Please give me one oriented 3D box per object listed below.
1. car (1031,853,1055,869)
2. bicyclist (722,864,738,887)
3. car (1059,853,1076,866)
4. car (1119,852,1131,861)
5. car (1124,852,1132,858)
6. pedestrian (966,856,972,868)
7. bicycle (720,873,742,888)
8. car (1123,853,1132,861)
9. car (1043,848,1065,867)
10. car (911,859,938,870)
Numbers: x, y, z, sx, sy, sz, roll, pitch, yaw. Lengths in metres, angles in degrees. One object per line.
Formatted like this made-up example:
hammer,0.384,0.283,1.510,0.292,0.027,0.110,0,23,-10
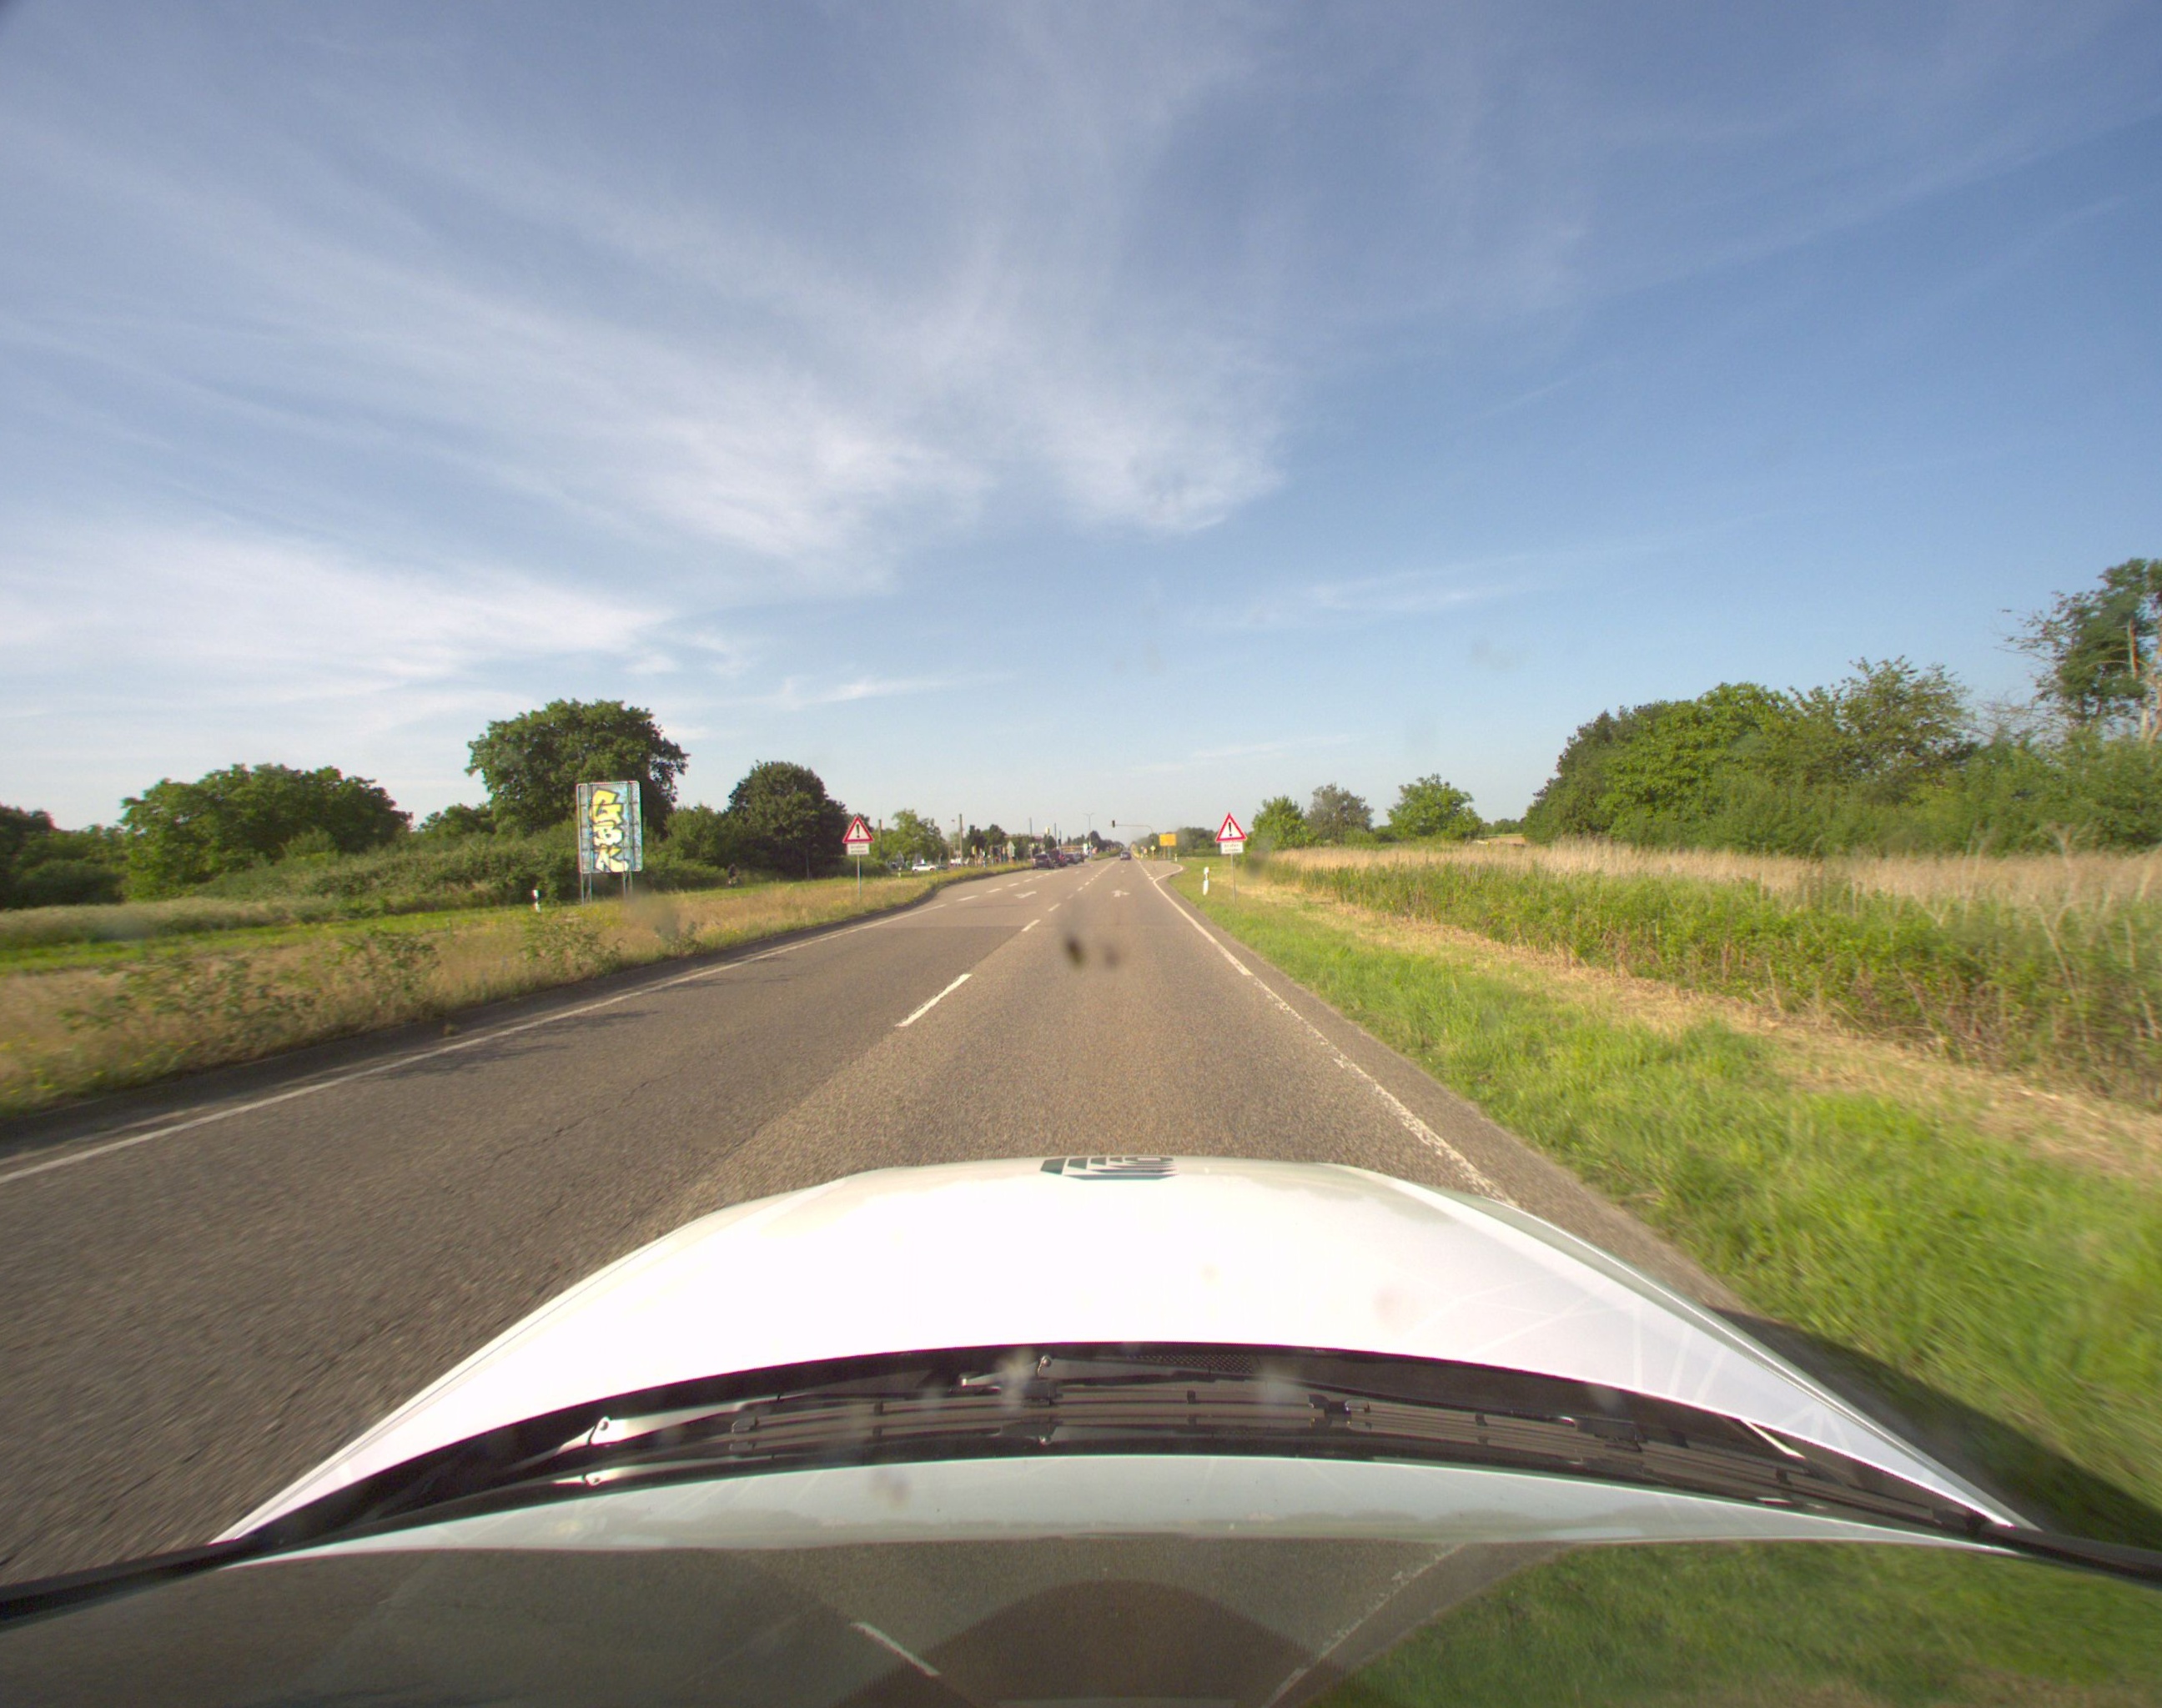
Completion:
car,-3.521,0.625,76.211,1.724,1.456,4.525,-2,0,4
bicyclist,-21.827,1.356,50.675,0.465,1.389,1.048,-2,0,3
car,-1.661,0.668,103.520,1.762,1.471,4.020,-2,0,4
car,8.088,0.378,148.670,1.985,1.552,4.005,-2,0,4
car,13.293,0.264,230.847,1.984,1.596,4.006,-2,0,5
pedestrian,-16.724,1.215,121.614,0.913,1.706,1.066,0,-1,-2
bicycle,-21.796,1.652,50.698,0.527,0.878,1.706,-2,0,3
car,10.024,0.587,174.894,1.985,1.552,4.005,-2,0,4
car,-2.769,0.353,83.726,1.724,1.855,4.525,-2,0,4
car,-24.449,1.631,127.541,3.984,1.662,1.882,0,-1,-8
